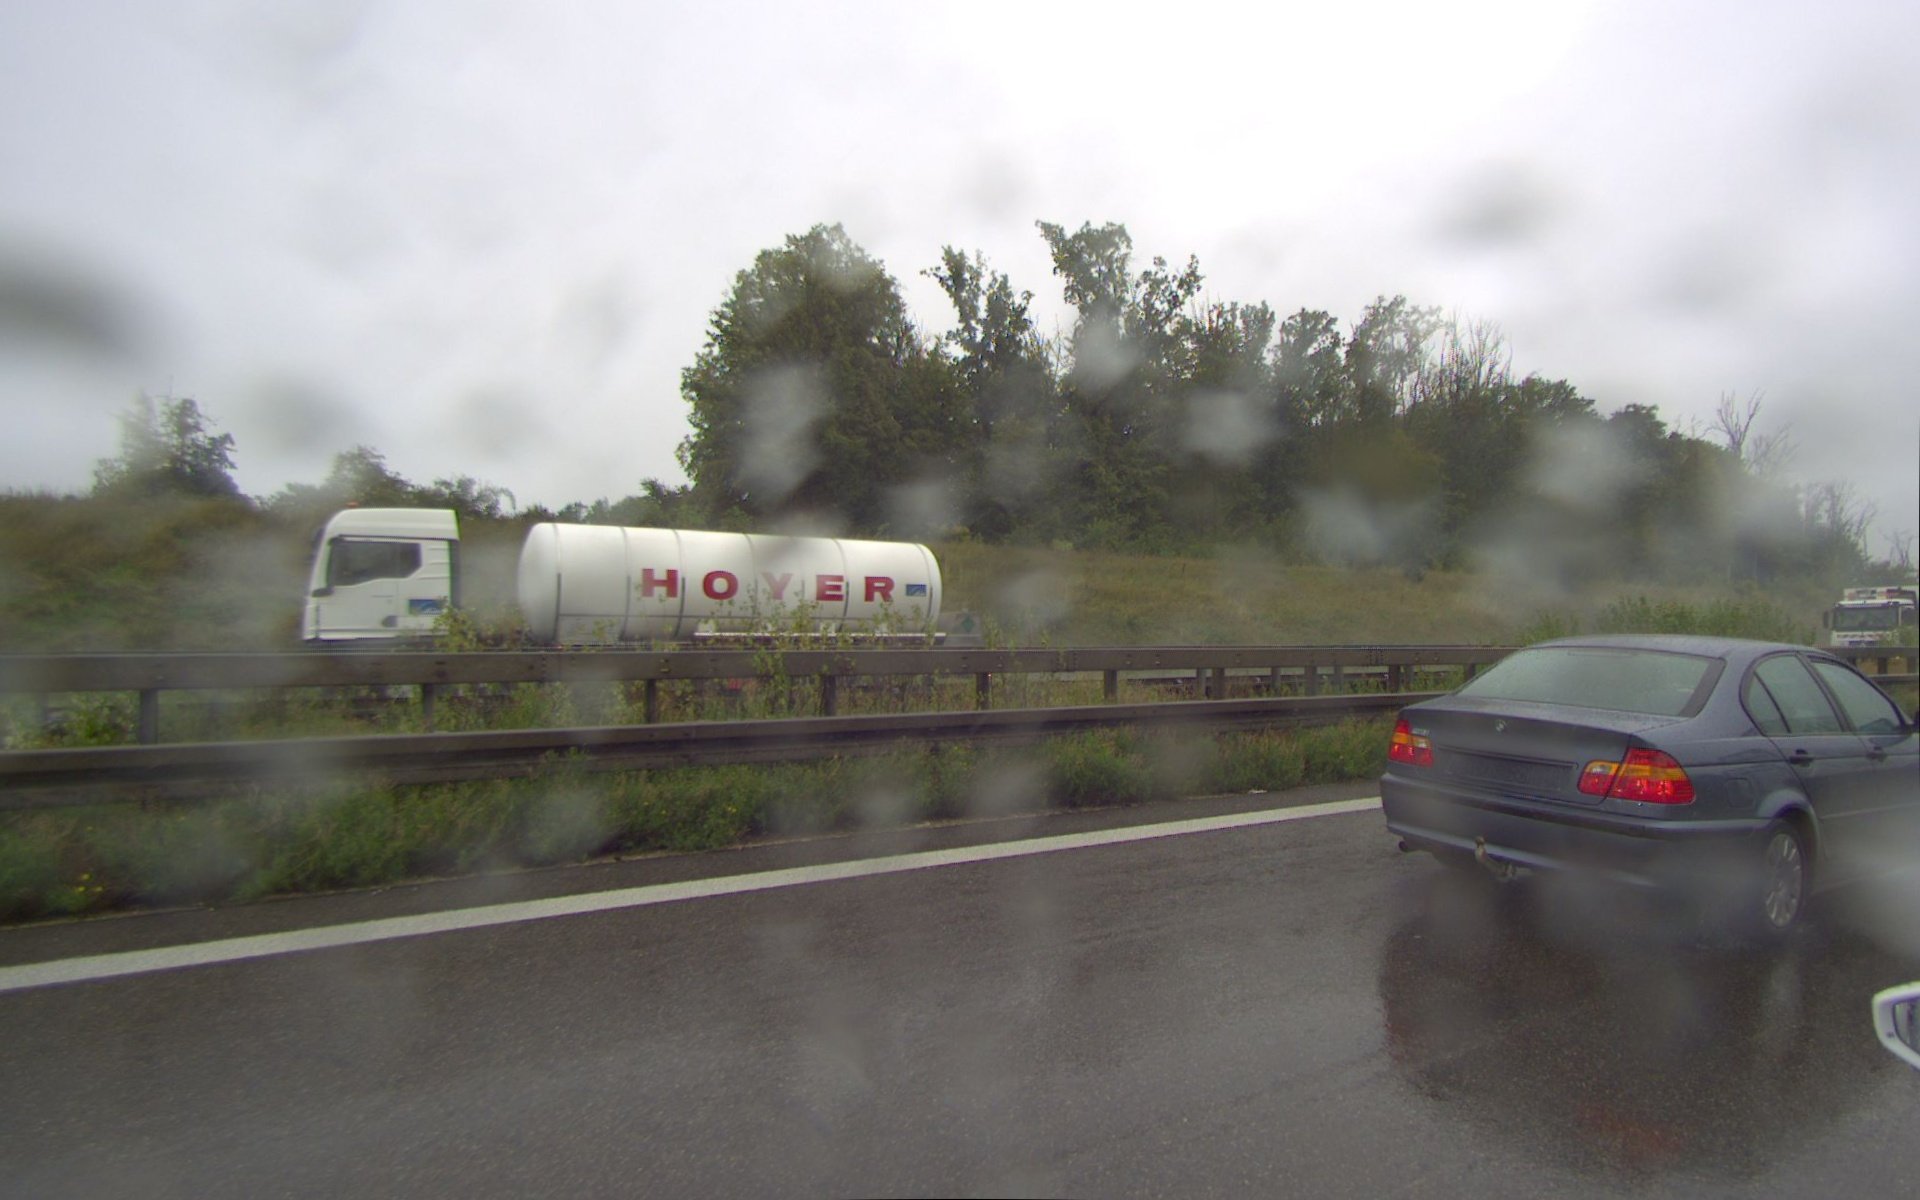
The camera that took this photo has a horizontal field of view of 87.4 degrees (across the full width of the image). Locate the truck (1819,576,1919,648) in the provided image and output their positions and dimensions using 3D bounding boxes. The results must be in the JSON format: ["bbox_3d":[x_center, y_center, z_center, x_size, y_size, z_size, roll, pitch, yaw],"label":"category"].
[{"bbox_3d":[38.258,0.558,41.752,4.474,2.754,2.471,3,-3,-29],"label":"truck"}]

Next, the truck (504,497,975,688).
[{"bbox_3d":[-4.290,0.109,20.986,9.241,3.341,2.543,3,-3,-31],"label":"truck"}]

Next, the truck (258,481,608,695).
[{"bbox_3d":[-9.260,-0.054,17.990,5.140,3.323,2.528,2,-3,-31],"label":"truck"}]

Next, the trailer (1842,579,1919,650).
[{"bbox_3d":[41.321,0.726,43.500,7.236,2.754,2.471,3,-3,-30],"label":"trailer"}]

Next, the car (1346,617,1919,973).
[{"bbox_3d":[4.356,0.850,5.894,4.181,1.418,1.709,1,-1,-31],"label":"car"}]
